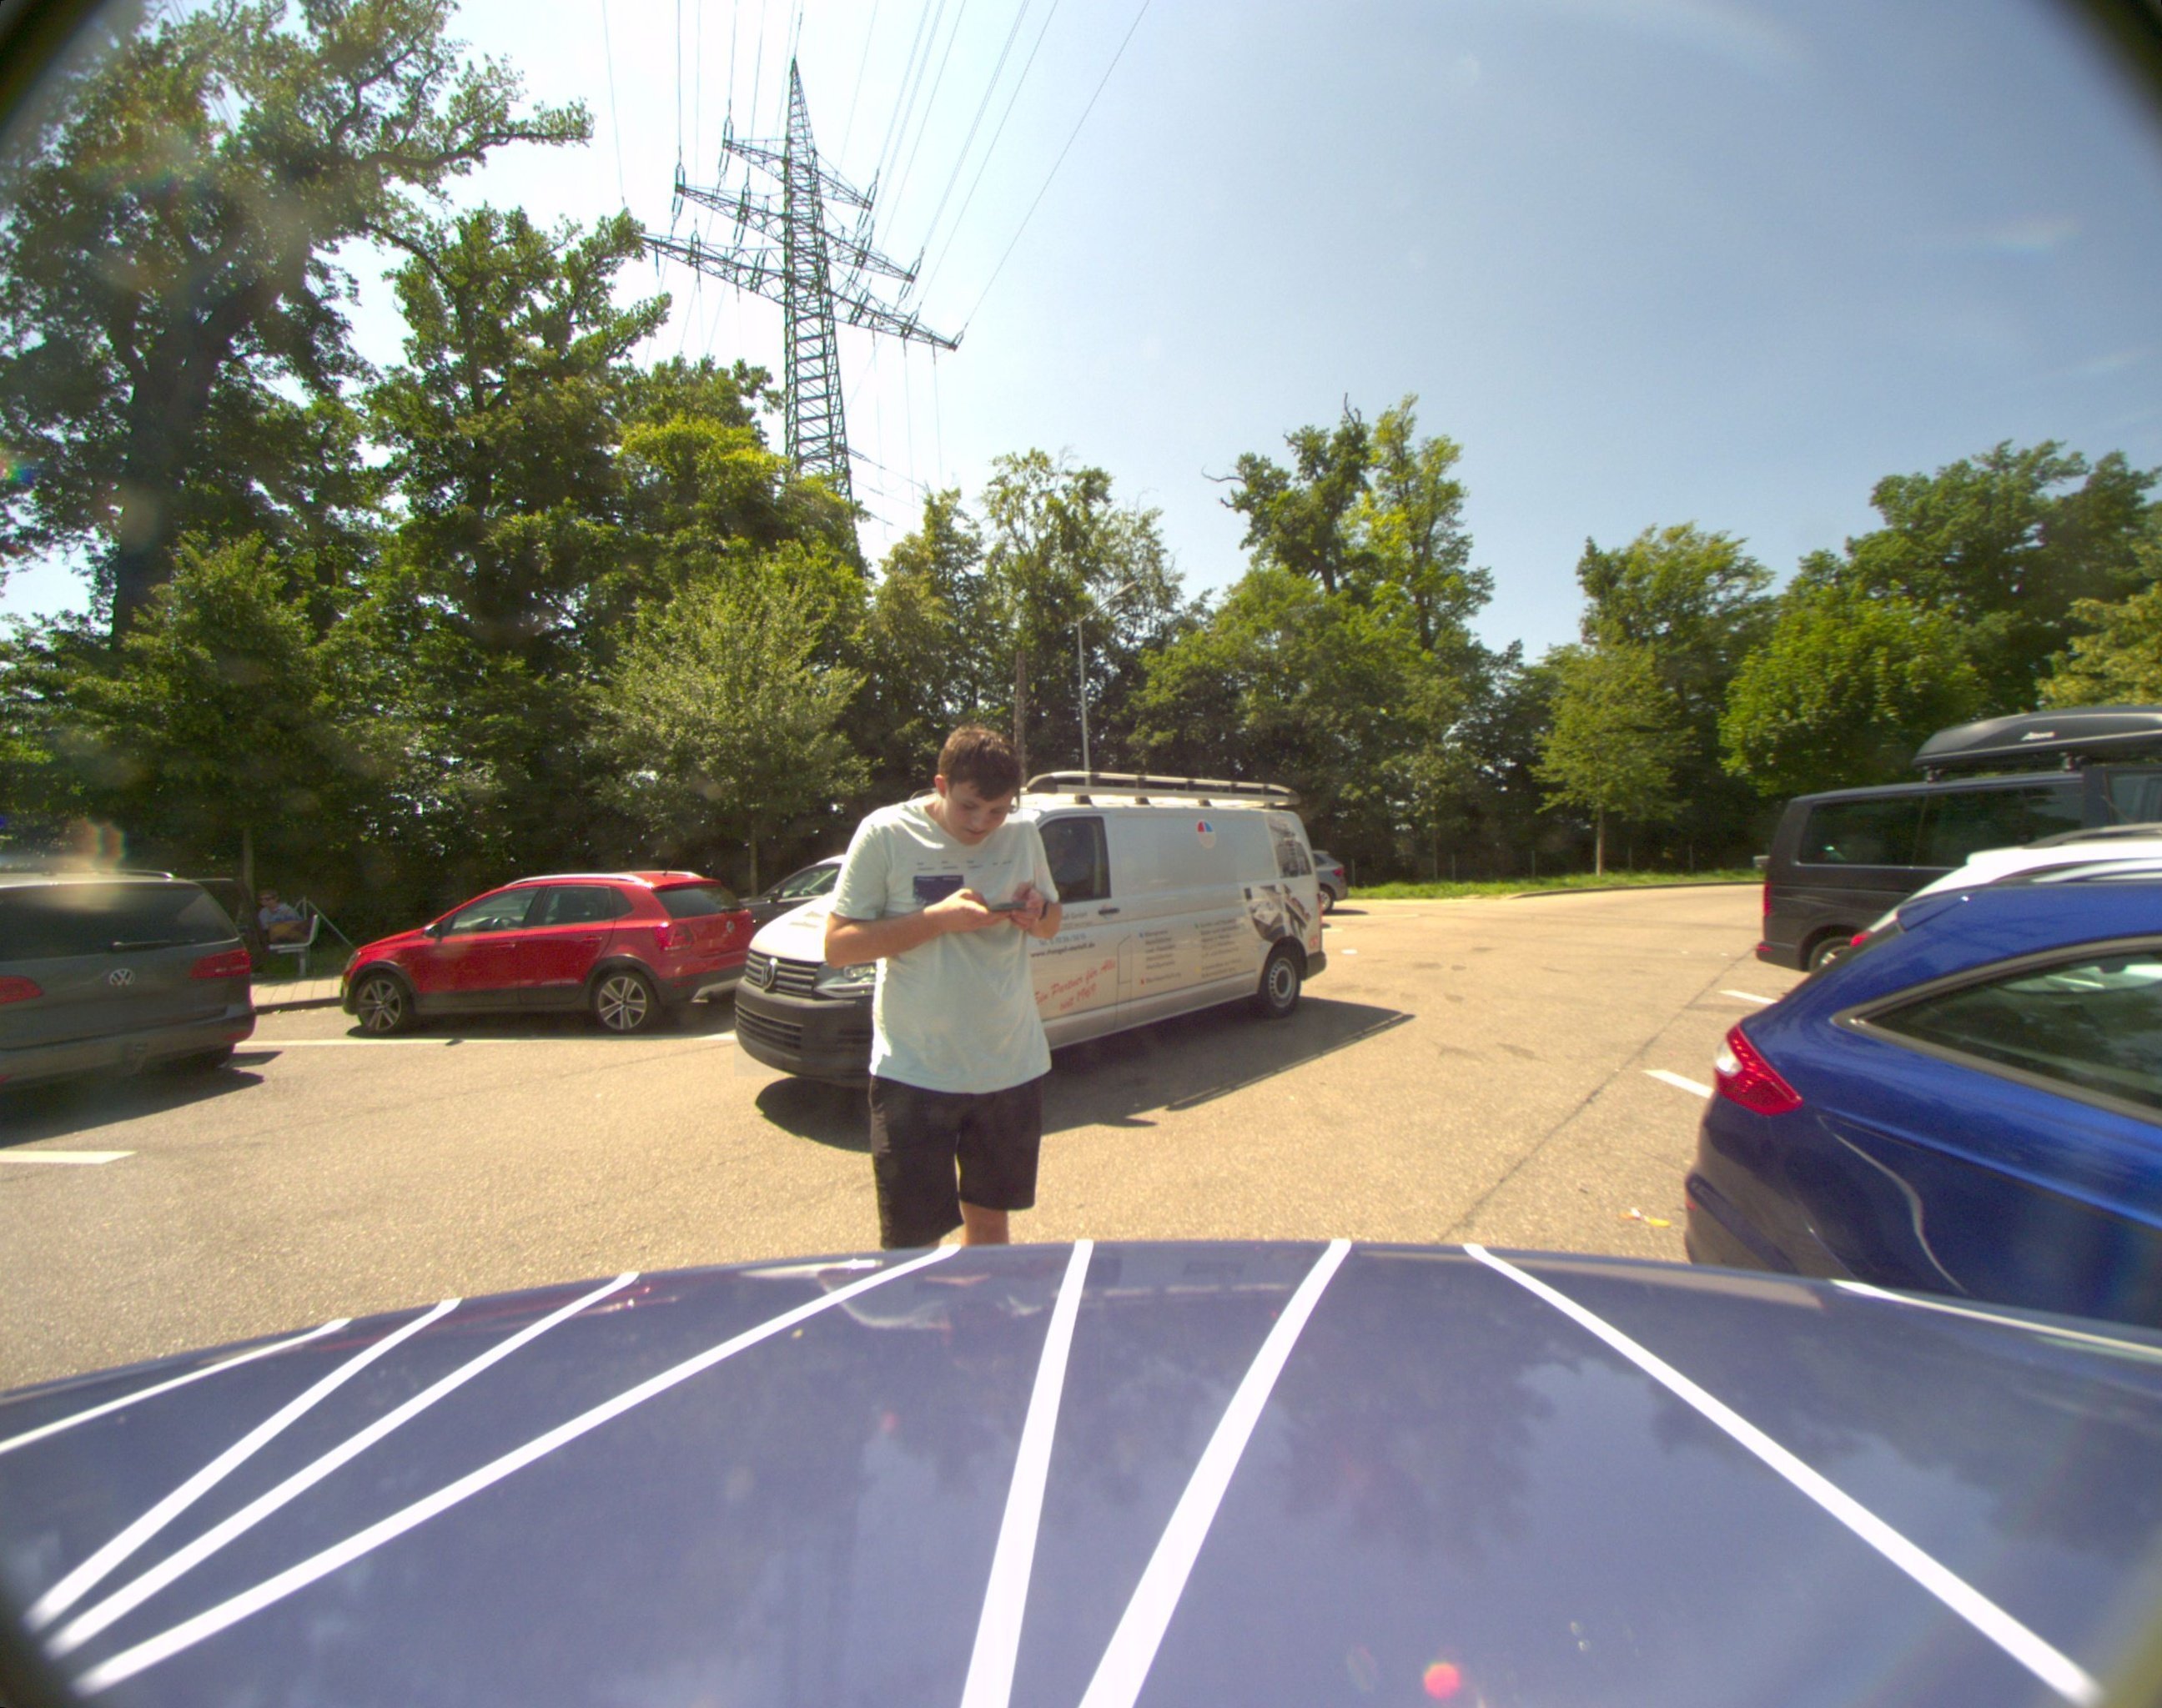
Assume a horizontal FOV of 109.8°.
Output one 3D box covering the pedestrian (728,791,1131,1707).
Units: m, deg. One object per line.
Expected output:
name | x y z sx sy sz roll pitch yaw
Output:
pedestrian | -0.388 0.790 1.885 0.741 1.818 0.613 -2 0 -34

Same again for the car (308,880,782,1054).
car | -5.240 1.079 7.692 3.745 1.458 1.621 -2 0 7

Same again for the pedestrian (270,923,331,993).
pedestrian | -10.806 1.427 10.533 0.503 0.874 0.512 -3 1 -39

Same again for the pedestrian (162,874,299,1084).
pedestrian | -7.375 1.044 6.607 0.481 1.712 0.589 -2 1 22

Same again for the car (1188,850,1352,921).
car | 4.380 0.729 18.106 3.585 1.493 1.707 -2 1 8

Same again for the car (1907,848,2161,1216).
car | 4.695 0.656 2.138 1.344 1.352 3.114 -2 0 1

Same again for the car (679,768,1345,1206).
car | 0.002 0.601 6.191 5.445 2.092 1.839 -2 1 -45

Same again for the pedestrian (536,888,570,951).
pedestrian | -10.213 1.266 14.702 0.366 1.186 0.356 -2 1 21

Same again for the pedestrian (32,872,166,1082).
pedestrian | -8.434 1.027 6.541 0.436 1.712 0.511 -2 1 17

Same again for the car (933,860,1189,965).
car | -0.248 0.885 12.225 3.773 1.445 1.848 -2 0 4

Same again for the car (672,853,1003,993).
car | -3.119 0.865 10.288 3.866 1.607 1.709 -2 0 0

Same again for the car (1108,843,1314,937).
car | 2.536 0.694 15.409 3.850 1.678 1.755 -2 0 4

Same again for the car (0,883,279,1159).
car | -8.391 1.107 5.464 3.903 1.607 1.705 -2 1 11

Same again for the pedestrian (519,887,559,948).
pedestrian | -10.969 1.289 15.383 0.413 1.186 0.443 -2 1 12

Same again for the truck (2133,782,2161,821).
truck | 40.208 -1.973 27.126 1.168 1.367 2.882 -2 -1 -19

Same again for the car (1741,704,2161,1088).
car | 7.327 0.237 5.201 1.788 2.304 4.084 -2 0 -6
